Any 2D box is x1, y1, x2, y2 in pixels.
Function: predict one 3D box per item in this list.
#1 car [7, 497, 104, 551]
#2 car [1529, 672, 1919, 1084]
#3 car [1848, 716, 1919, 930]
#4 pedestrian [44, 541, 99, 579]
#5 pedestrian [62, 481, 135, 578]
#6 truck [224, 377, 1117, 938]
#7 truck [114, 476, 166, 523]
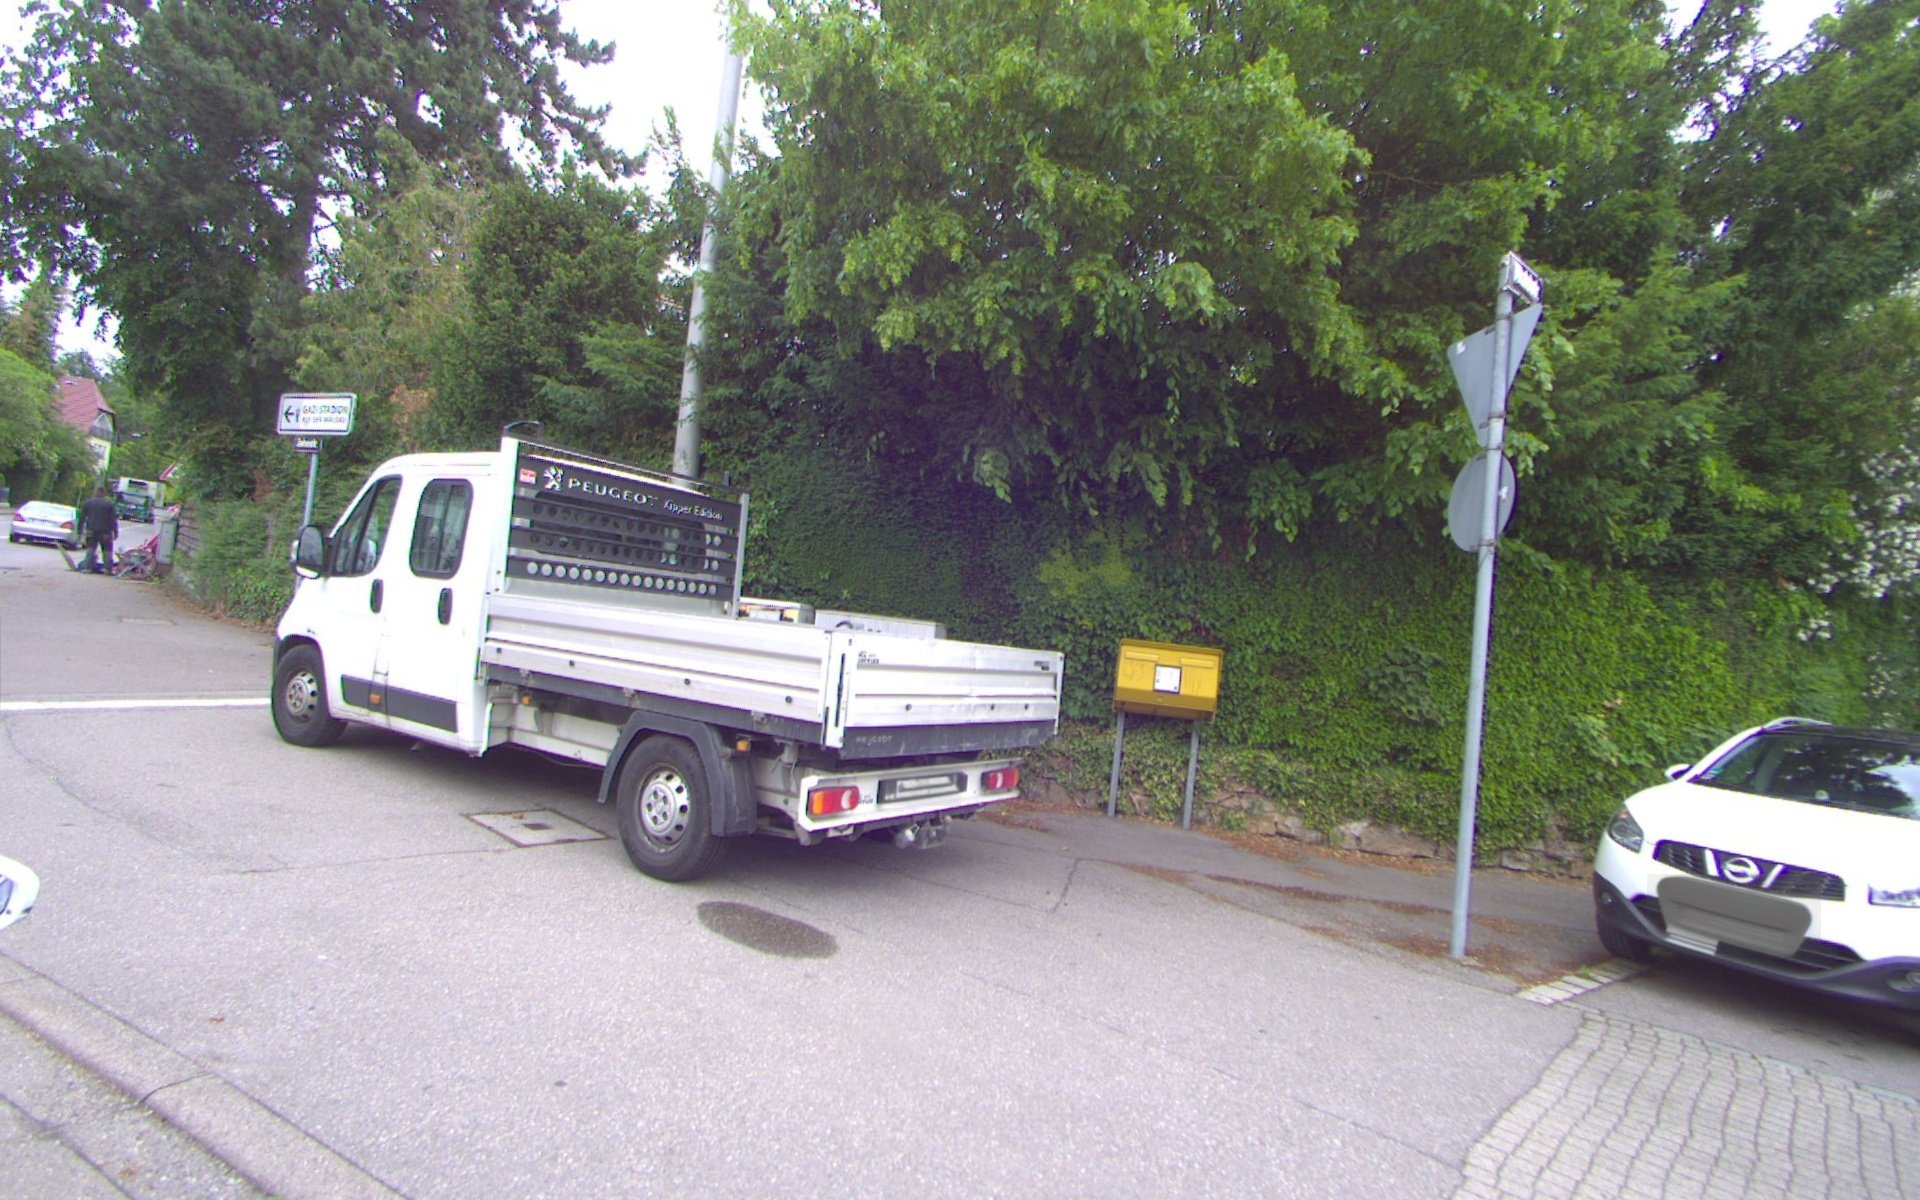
[{"bbox_3d":[-30.401,-2.507,33.929,1.787,1.431,4.296,8,-2,-35],"label":"car"},{"bbox_3d":[5.563,1.528,6.197,4.029,1.659,1.853,8,-2,-33],"label":"car"},{"bbox_3d":[9.758,2.102,8.845,4.029,1.679,1.853,8,-2,-33],"label":"car"},{"bbox_3d":[-19.651,-0.883,22.253,0.574,0.705,0.647,8,0,13],"label":"pedestrian"},{"bbox_3d":[-18.656,-1.518,21.782,0.788,1.947,0.846,8,0,34],"label":"pedestrian"},{"bbox_3d":[-2.316,0.104,6.957,6.091,2.379,2.399,6,-2,34],"label":"truck"},{"bbox_3d":[-71.905,-8.766,88.127,2.770,3.501,7.404,8,-2,-43],"label":"truck"}]
